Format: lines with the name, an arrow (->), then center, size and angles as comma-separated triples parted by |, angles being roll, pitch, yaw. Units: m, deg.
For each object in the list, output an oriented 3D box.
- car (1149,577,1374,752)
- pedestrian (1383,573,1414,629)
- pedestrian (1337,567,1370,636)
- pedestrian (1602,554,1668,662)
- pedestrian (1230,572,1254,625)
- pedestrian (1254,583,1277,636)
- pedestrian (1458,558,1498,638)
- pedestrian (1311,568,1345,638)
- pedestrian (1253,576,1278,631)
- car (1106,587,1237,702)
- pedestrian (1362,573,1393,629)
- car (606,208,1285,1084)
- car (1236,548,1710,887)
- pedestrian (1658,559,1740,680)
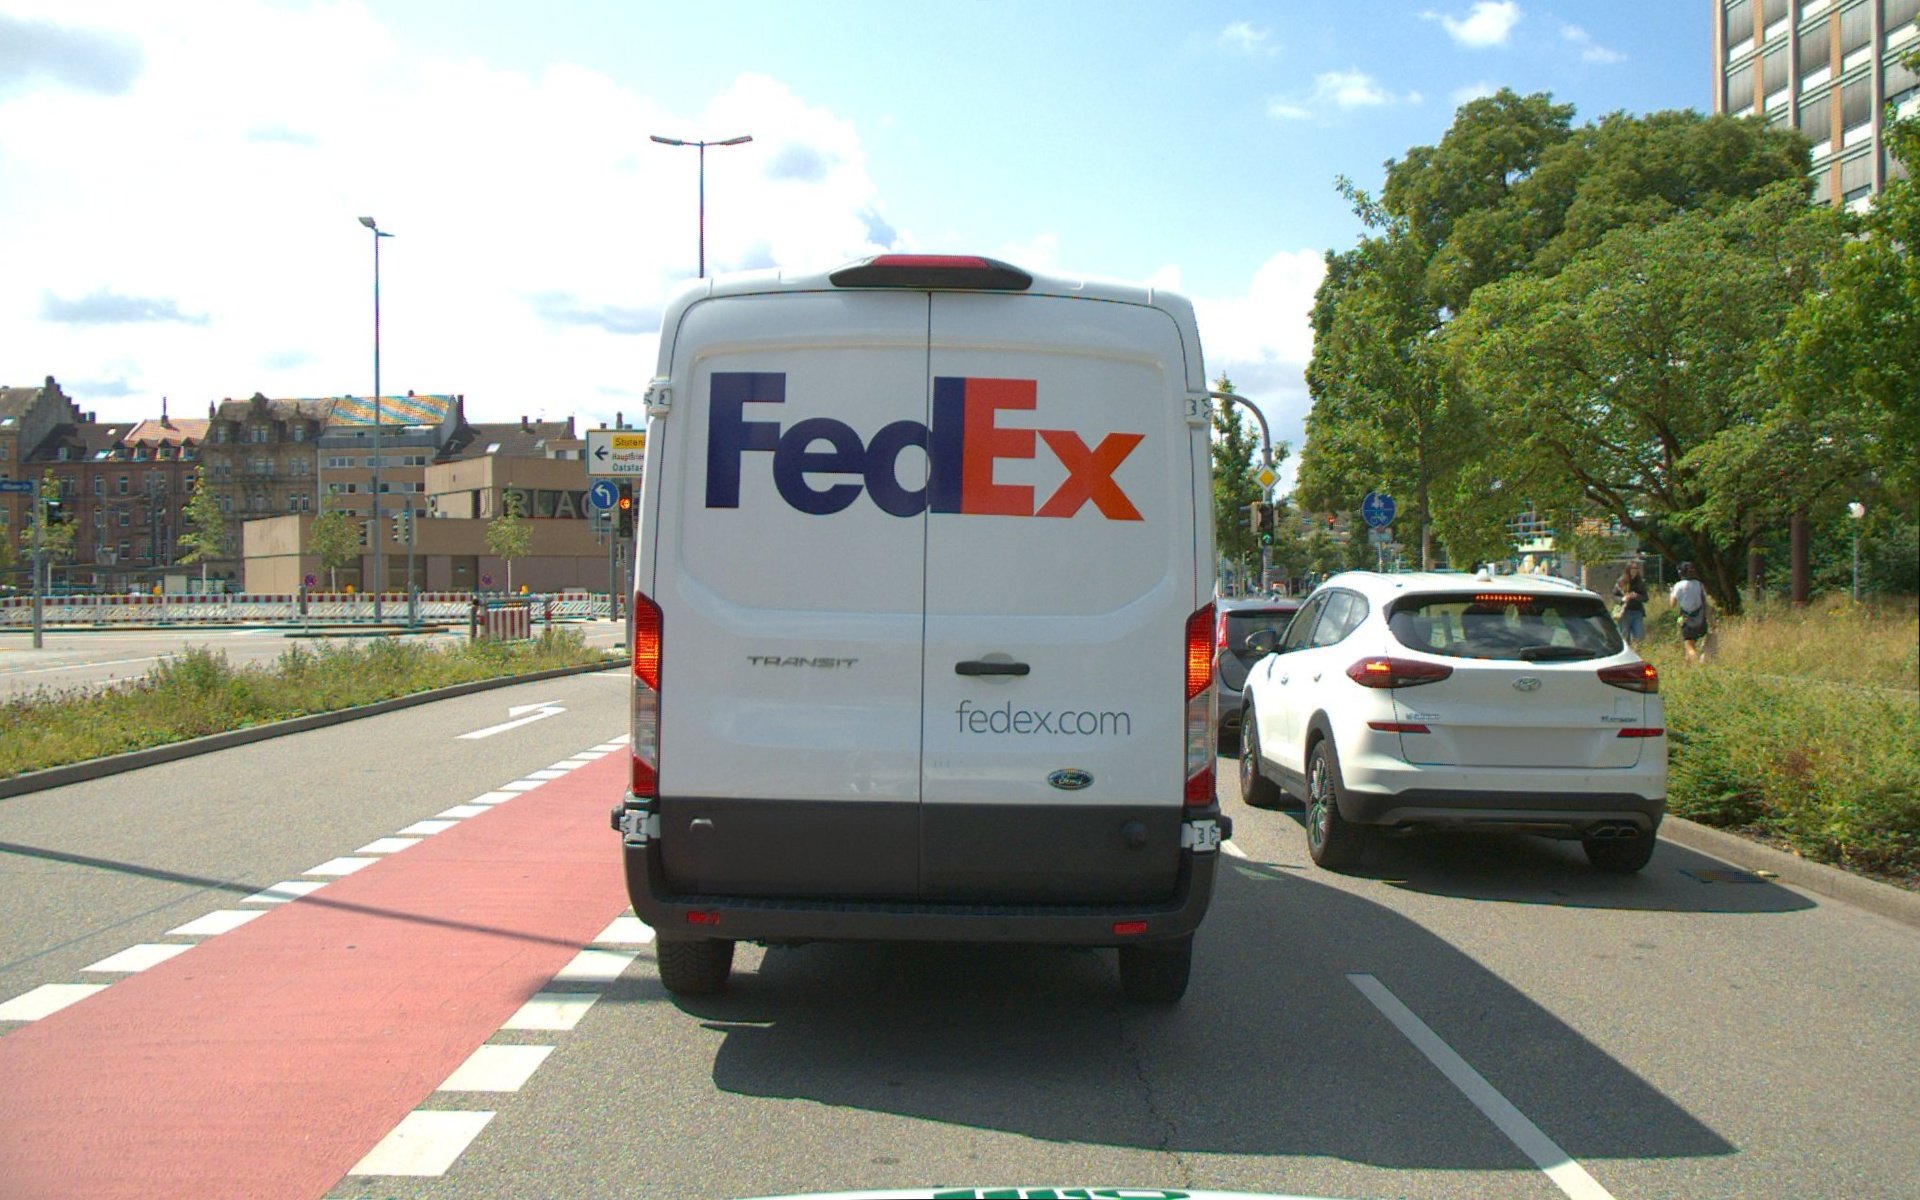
car -> 2.942, 0.565, 16.827 | 1.656, 1.576, 3.721 | 0, 1, 1
pedestrian -> 14.997, 0.037, 56.541 | 0.745, 1.882, 0.814 | 0, 0, -9
pedestrian -> 10.800, 0.035, 45.401 | 0.743, 1.882, 0.816 | 0, 0, 3
pedestrian -> 10.787, 0.122, 26.460 | 0.743, 1.684, 0.816 | 0, 0, 3
pedestrian -> 10.242, -0.057, 60.092 | 0.796, 1.882, 0.761 | 0, 0, 2
pedestrian -> 10.927, 0.338, 59.211 | 0.742, 1.882, 0.817 | 0, 0, 14
pedestrian -> 11.912, -0.049, 38.023 | 0.742, 1.820, 0.817 | 0, 0, 7
pedestrian -> 10.020, 0.080, 45.024 | 0.743, 1.882, 0.816 | 0, 0, 1
pedestrian -> 10.488, 0.120, 56.848 | 0.743, 1.882, 0.816 | 0, 0, 18
car -> 2.944, 0.573, 23.578 | 1.468, 1.489, 3.474 | 0, 1, 1
pedestrian -> 14.186, 0.024, 56.268 | 0.745, 1.882, 0.814 | -1, 0, -11
car -> -0.015, 0.115, 7.194 | 2.030, 2.626, 4.428 | 0, 1, 1
car -> 2.930, 0.572, 10.357 | 1.777, 1.708, 3.974 | 0, 1, 1
pedestrian -> 9.882, 0.256, 22.137 | 0.743, 1.584, 0.816 | 0, 0, 1
